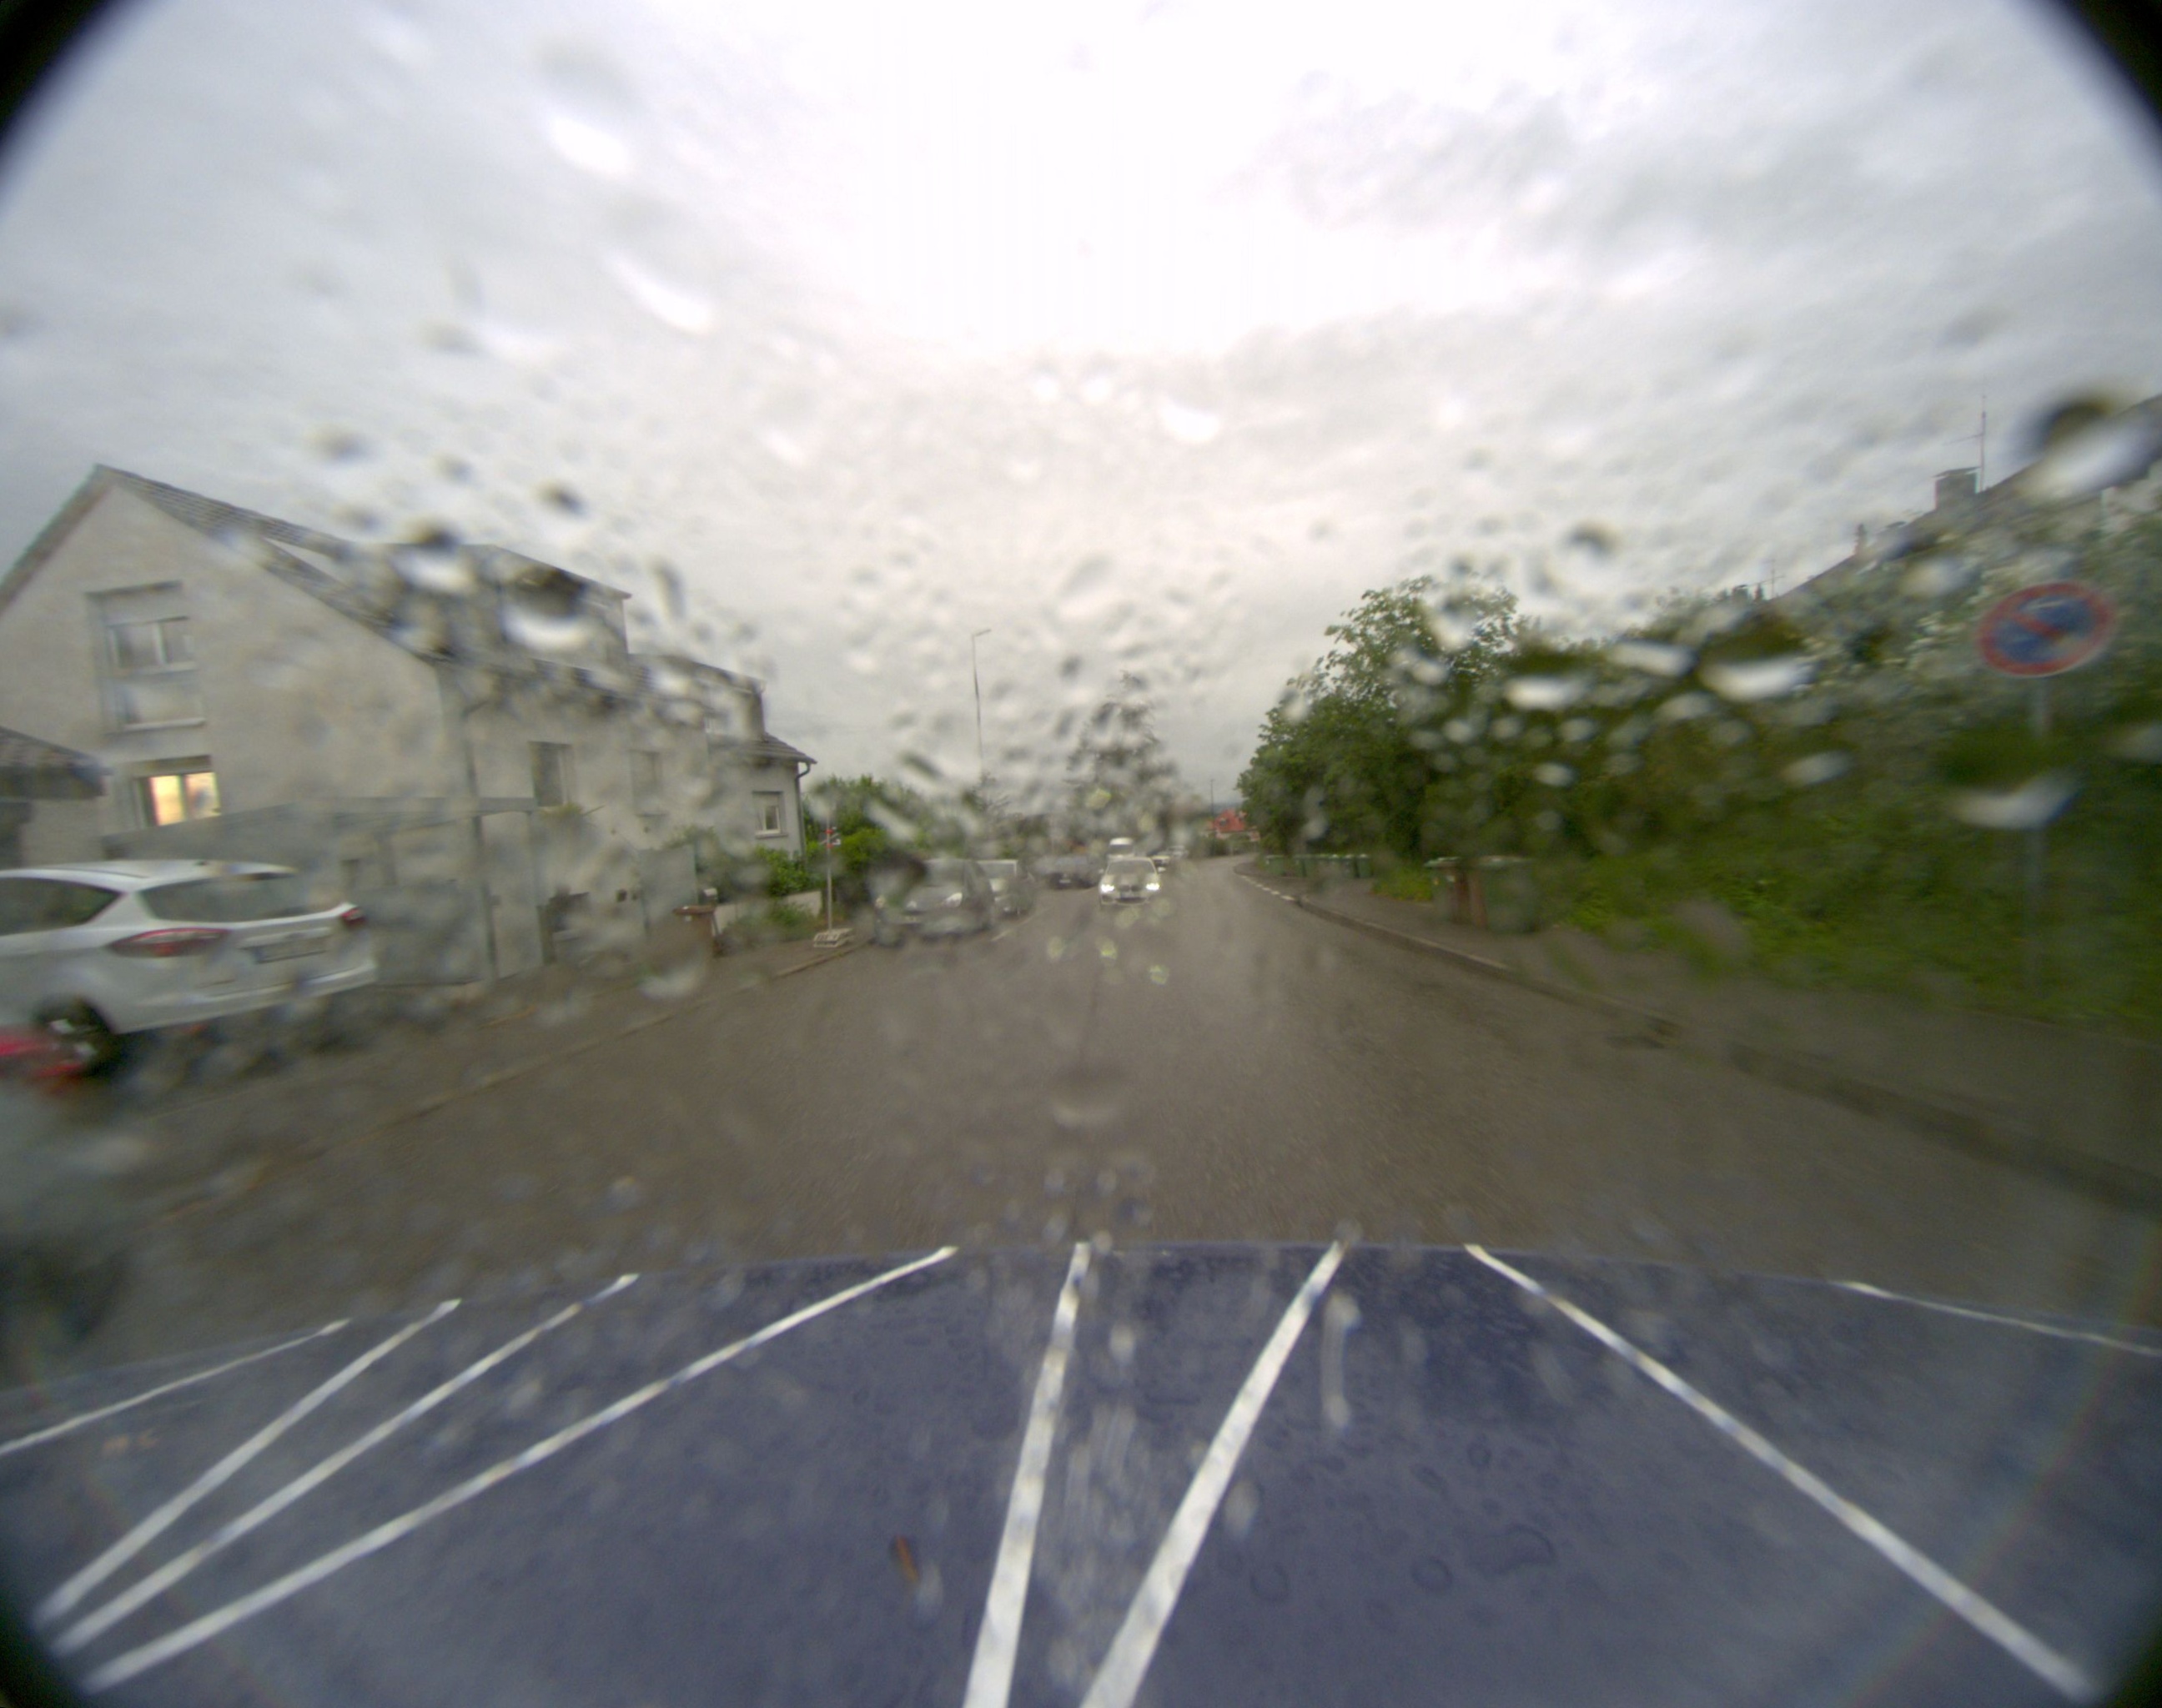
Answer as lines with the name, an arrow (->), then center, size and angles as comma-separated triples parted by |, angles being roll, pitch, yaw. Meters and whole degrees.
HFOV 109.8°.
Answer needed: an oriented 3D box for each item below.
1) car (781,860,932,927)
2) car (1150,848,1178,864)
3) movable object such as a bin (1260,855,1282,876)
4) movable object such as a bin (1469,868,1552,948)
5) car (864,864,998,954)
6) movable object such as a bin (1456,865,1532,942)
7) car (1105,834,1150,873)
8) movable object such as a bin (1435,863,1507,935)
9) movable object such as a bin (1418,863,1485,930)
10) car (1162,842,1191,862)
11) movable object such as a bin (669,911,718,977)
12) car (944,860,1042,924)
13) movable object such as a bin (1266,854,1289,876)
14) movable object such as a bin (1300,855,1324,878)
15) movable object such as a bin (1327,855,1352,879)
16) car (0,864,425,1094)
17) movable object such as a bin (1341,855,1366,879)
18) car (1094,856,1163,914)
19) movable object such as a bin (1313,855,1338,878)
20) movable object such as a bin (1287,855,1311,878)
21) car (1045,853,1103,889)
car -> -7.086, 1.234, 24.210 | 3.995, 1.433, 2.001 | -9, 0, 10
car -> 7.601, 0.161, 69.353 | 1.751, 1.415, 4.005 | -1, 1, 17
movable object such as a bin -> 9.744, 0.595, 38.952 | 0.780, 1.022, 0.718 | -5, 1, -15
movable object such as a bin -> 6.094, 0.746, 10.802 | 0.770, 1.062, 0.691 | -2, 1, 0
car -> -2.761, 0.962, 14.840 | 1.663, 1.458, 3.764 | 0, 0, 3
movable object such as a bin -> 6.227, 0.732, 11.495 | 0.770, 1.090, 0.671 | -2, 1, 0
car -> 3.363, -0.070, 53.574 | 2.075, 2.535, 6.187 | -1, 1, 13
movable object such as a bin -> 6.249, 0.710, 12.210 | 0.770, 1.090, 0.738 | -2, 1, 0
movable object such as a bin -> 6.319, 0.713, 12.989 | 0.770, 1.090, 0.738 | -2, 1, 0
car -> 9.446, -0.222, 74.722 | 1.867, 1.808, 4.868 | -1, 1, 19
movable object such as a bin -> -5.890, 1.354, 11.554 | 0.433, 0.934, 0.500 | -2, 1, 6
car -> -2.173, 0.918, 19.987 | 1.772, 1.458, 4.236 | 0, 0, 4
movable object such as a bin -> 9.885, 0.554, 38.223 | 0.780, 1.022, 0.718 | -5, 1, -15
movable object such as a bin -> 11.070, 0.606, 36.381 | 0.781, 1.022, 0.718 | -6, 2, -38
movable object such as a bin -> 11.973, 0.606, 35.208 | 0.781, 1.022, 0.718 | -6, 2, -38
car -> -8.569, 1.007, 6.691 | 3.995, 1.580, 1.935 | -3, 2, 7
movable object such as a bin -> 12.412, 0.600, 34.625 | 0.781, 1.022, 0.718 | -6, 2, -38
car -> 1.441, 0.832, 22.226 | 1.797, 1.455, 4.001 | -1, 1, 5
movable object such as a bin -> 11.517, 0.597, 35.799 | 0.781, 1.022, 0.718 | -6, 2, -38
movable object such as a bin -> 10.610, 0.596, 36.967 | 0.781, 1.022, 0.718 | -6, 2, -38
car -> -0.220, 0.727, 35.067 | 1.861, 1.518, 5.067 | 0, 0, 9
